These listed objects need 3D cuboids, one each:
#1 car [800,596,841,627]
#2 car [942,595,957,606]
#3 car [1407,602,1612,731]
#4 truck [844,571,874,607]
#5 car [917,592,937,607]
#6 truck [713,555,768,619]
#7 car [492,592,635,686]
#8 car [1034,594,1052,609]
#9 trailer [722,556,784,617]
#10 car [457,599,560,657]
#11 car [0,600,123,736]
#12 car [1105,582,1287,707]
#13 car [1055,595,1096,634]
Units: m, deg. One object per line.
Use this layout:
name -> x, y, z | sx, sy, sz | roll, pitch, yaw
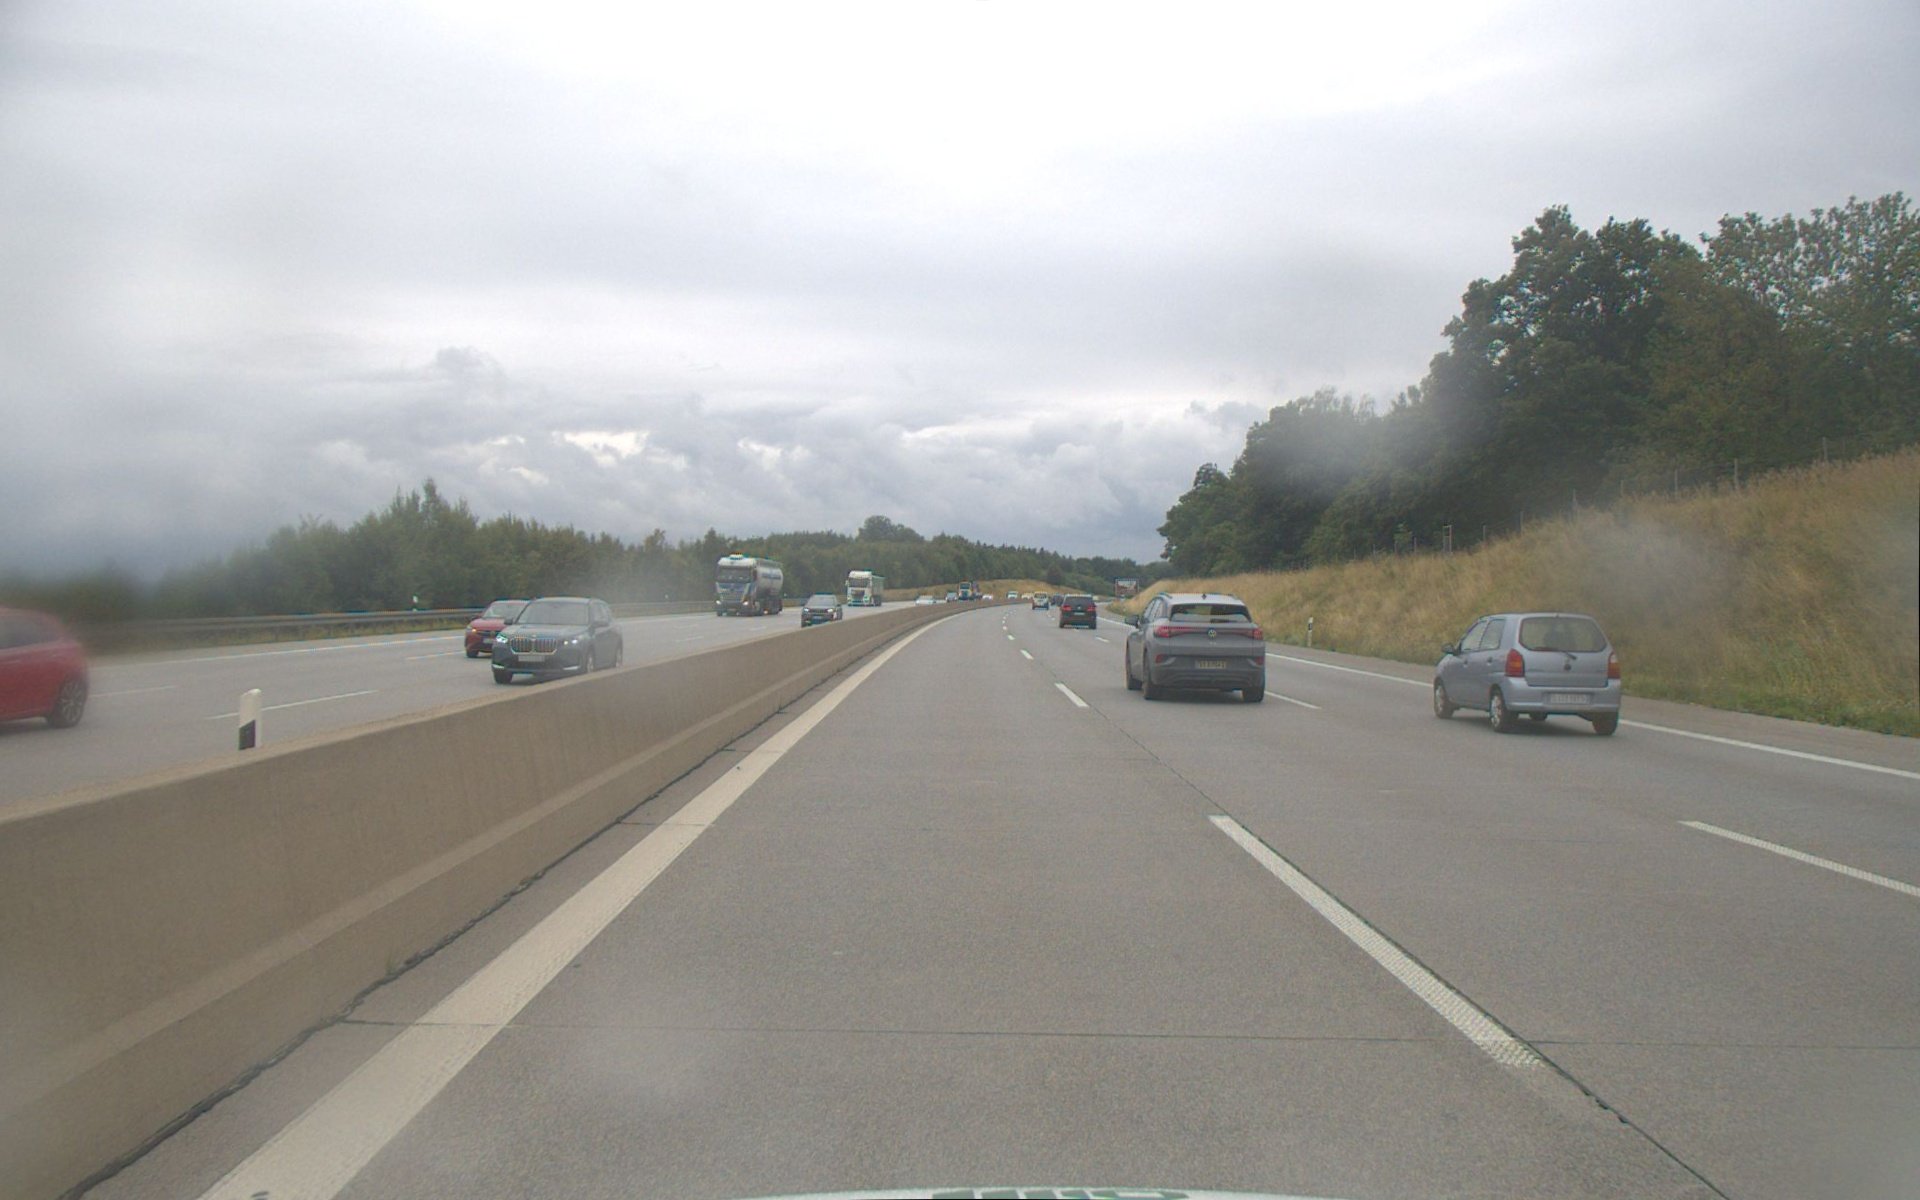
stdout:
car -> -7.169, 0.560, 85.121 | 1.755, 1.441, 4.343 | 1, 1, 0
car -> -1.609, 0.137, 253.220 | 1.952, 1.617, 4.772 | 1, 0, 2
car -> 7.233, 0.819, 22.095 | 1.456, 1.496, 3.503 | 0, 1, -2
truck -> -11.292, -1.211, 185.018 | 2.693, 3.869, 5.532 | 1, 0, 2
car -> -3.548, -0.064, 178.649 | 1.953, 1.466, 4.768 | 2, 1, 0
truck -> -14.572, -0.910, 110.290 | 2.691, 4.068, 6.930 | 1, 1, 0
car -> -7.814, 0.706, 33.041 | 1.687, 1.615, 4.971 | 0, 1, -1
car -> 9.436, 0.125, 186.918 | 1.802, 1.526, 4.003 | -2, 1, 6
trailer -> -14.523, -1.069, 116.834 | 2.702, 4.068, 12.291 | 1, 1, 0
car -> -11.772, 0.700, 43.413 | 1.487, 1.417, 4.486 | 1, 0, -1
car -> -11.649, 0.784, 19.136 | 1.683, 1.534, 4.486 | 0, -1, -1
car -> 3.658, 0.616, 26.630 | 1.860, 1.719, 5.263 | 1, 1, -3
car -> 5.806, 0.720, 83.713 | 1.748, 1.777, 3.915 | -2, 1, 0
